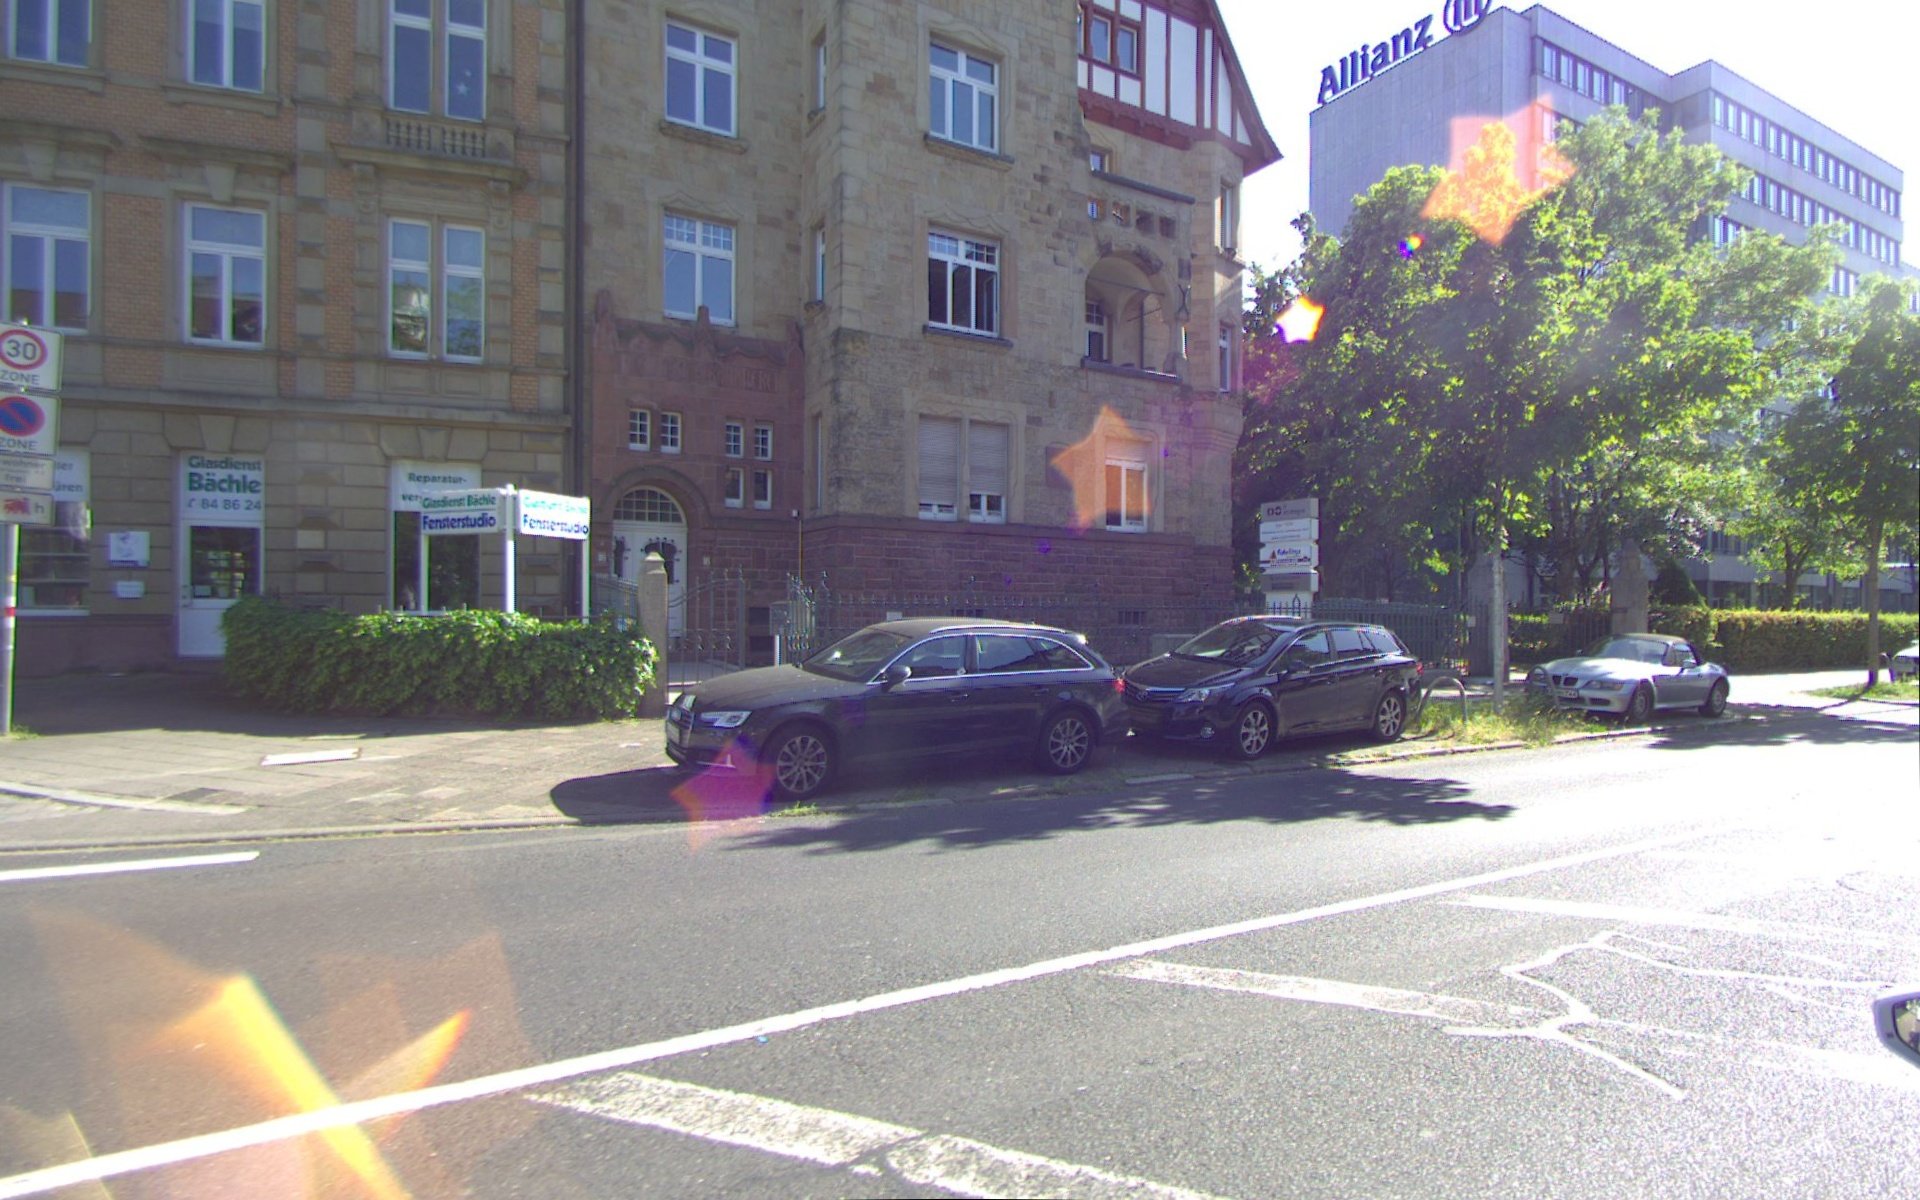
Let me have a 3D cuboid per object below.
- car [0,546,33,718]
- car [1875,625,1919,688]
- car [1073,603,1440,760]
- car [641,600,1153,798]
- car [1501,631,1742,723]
[{"bbox_3d":[-11.611,0.244,10.151,4.067,1.693,1.997,3,3,27],"label":"car"},{"bbox_3d":[24.196,1.379,24.328,4.138,1.402,1.681,1,2,-28],"label":"car"},{"bbox_3d":[3.779,0.880,12.434,4.660,1.514,1.843,1,2,-36],"label":"car"},{"bbox_3d":[-0.531,0.831,9.863,4.664,1.447,1.847,1,3,-30],"label":"car"},{"bbox_3d":[10.760,1.178,16.292,3.967,1.272,1.670,1,0,-30],"label":"car"}]
